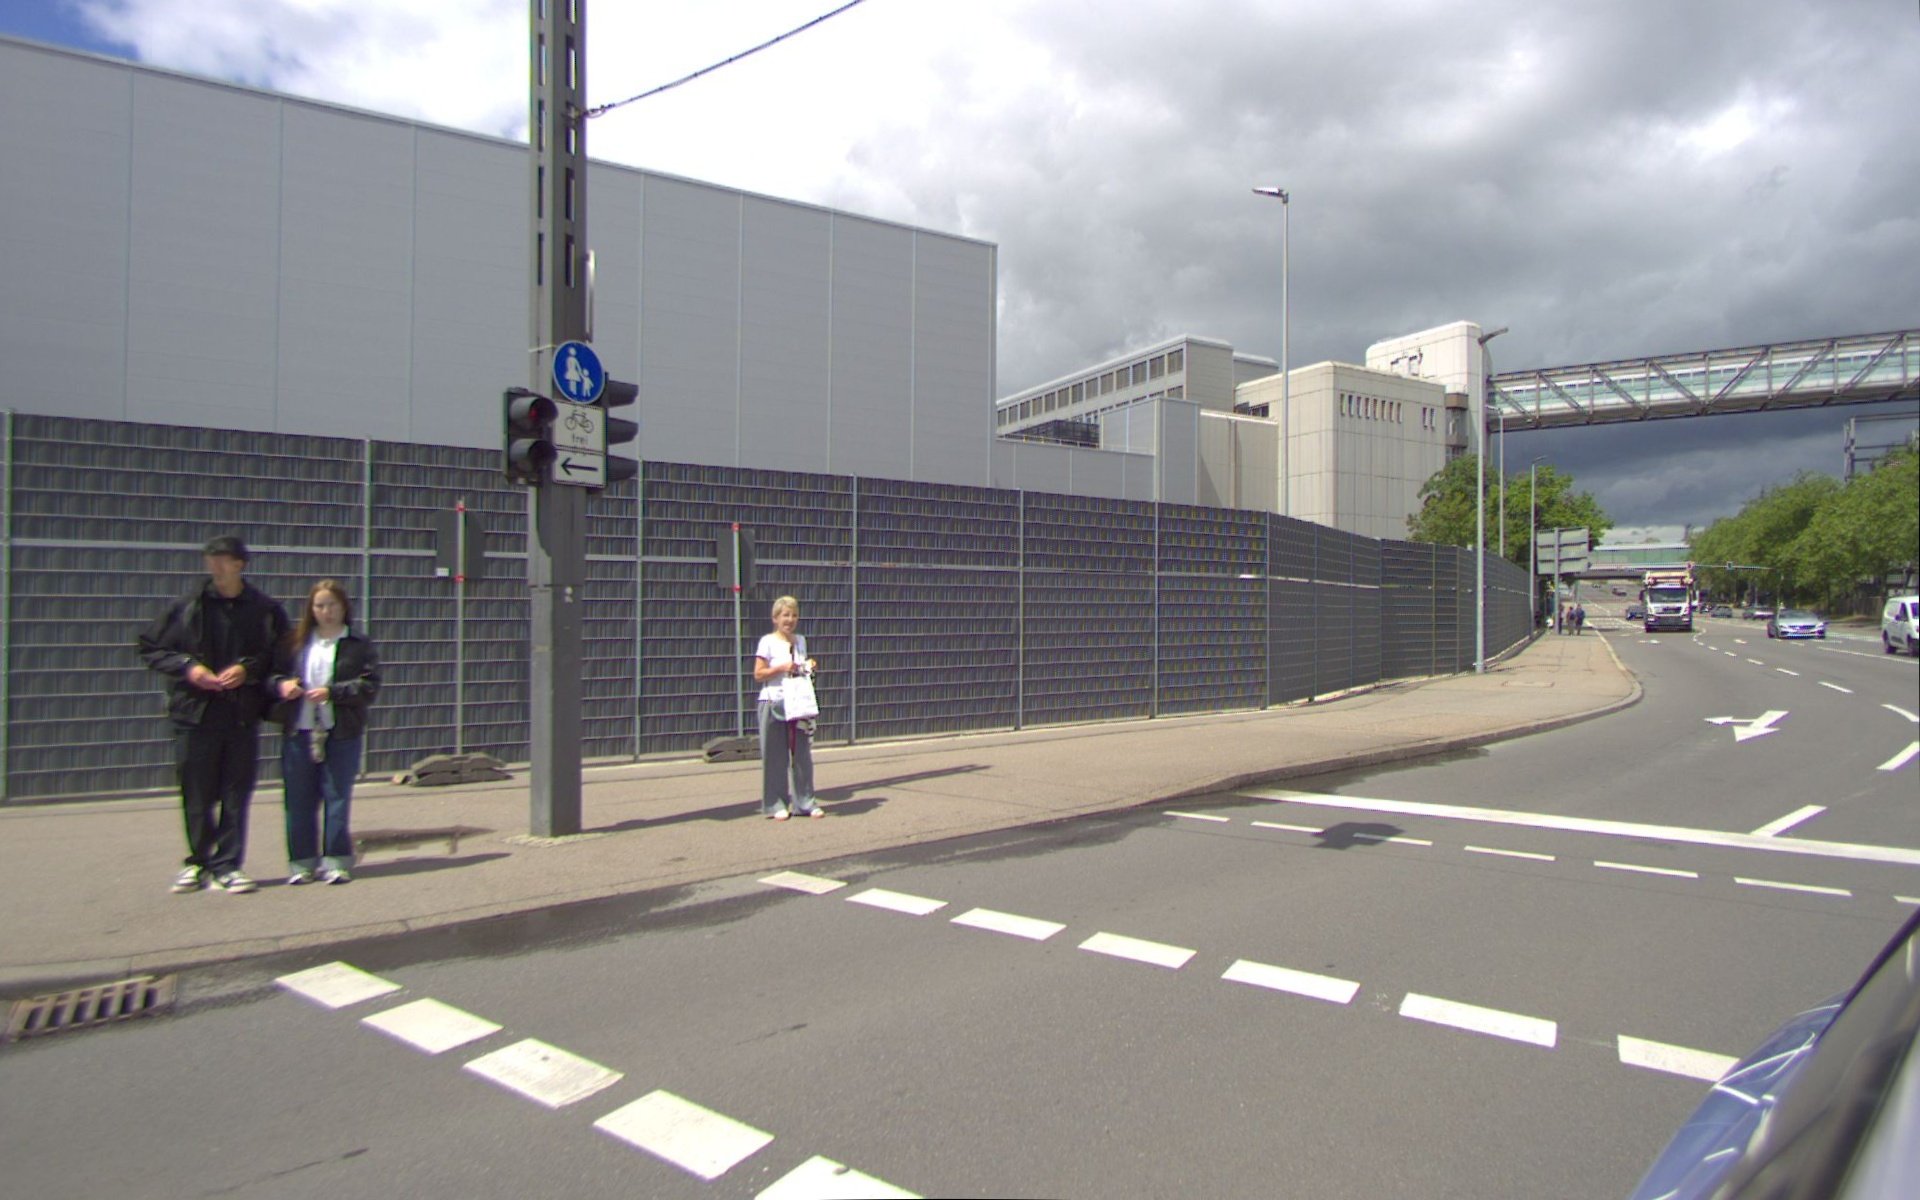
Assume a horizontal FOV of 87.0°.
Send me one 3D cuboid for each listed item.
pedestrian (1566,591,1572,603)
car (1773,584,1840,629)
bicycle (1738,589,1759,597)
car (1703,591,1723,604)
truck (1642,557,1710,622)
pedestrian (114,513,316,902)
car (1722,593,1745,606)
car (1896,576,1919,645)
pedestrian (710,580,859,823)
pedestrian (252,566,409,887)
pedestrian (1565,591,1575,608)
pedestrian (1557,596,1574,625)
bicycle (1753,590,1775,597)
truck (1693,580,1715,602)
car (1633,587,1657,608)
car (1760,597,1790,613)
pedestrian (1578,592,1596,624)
[{"bbox_3d":[90.894,-0.418,151.027,0.724,1.788,1.004,-1,0,32],"label":"pedestrian"},{"bbox_3d":[41.073,0.289,49.196,1.859,1.980,4.657,-2,0,33],"label":"car"},{"bbox_3d":[128.202,-1.093,164.590,2.545,1.193,0.608,-1,0,34],"label":"bicycle"},{"bbox_3d":[99.834,-0.362,134.182,1.733,1.600,4.218,3,2,32],"label":"car"},{"bbox_3d":[46.865,-0.703,66.501,2.693,3.934,10.625,-1,0,31],"label":"truck"},{"bbox_3d":[-3.990,0.515,5.421,0.780,1.890,0.660,-1,0,-43],"label":"pedestrian"},{"bbox_3d":[88.182,-0.101,115.373,1.684,1.432,4.098,2,2,32],"label":"car"},{"bbox_3d":[30.238,0.350,30.941,1.814,2.039,4.334,0,-1,35],"label":"car"},{"bbox_3d":[-1.268,0.683,7.355,0.659,1.628,0.810,-1,0,43],"label":"pedestrian"},{"bbox_3d":[-3.454,0.642,5.559,0.651,1.636,0.464,-1,0,-40],"label":"pedestrian"},{"bbox_3d":[58.745,-0.052,97.484,0.805,1.665,0.987,2,1,30],"label":"pedestrian"},{"bbox_3d":[35.156,0.613,58.730,0.790,1.617,0.724,-1,0,30],"label":"pedestrian"},{"bbox_3d":[122.517,-0.972,154.180,2.552,1.099,0.607,-1,0,40],"label":"bicycle"},{"bbox_3d":[112.087,-1.430,152.520,2.443,3.168,7.154,-1,0,34],"label":"truck"},{"bbox_3d":[70.062,-0.279,103.584,1.859,1.980,4.657,-2,0,33],"label":"car"},{"bbox_3d":[84.167,0.536,104.562,1.870,1.524,4.142,2,1,32],"label":"car"},{"bbox_3d":[35.110,0.455,56.686,0.790,1.742,0.724,-1,0,29],"label":"pedestrian"}]
